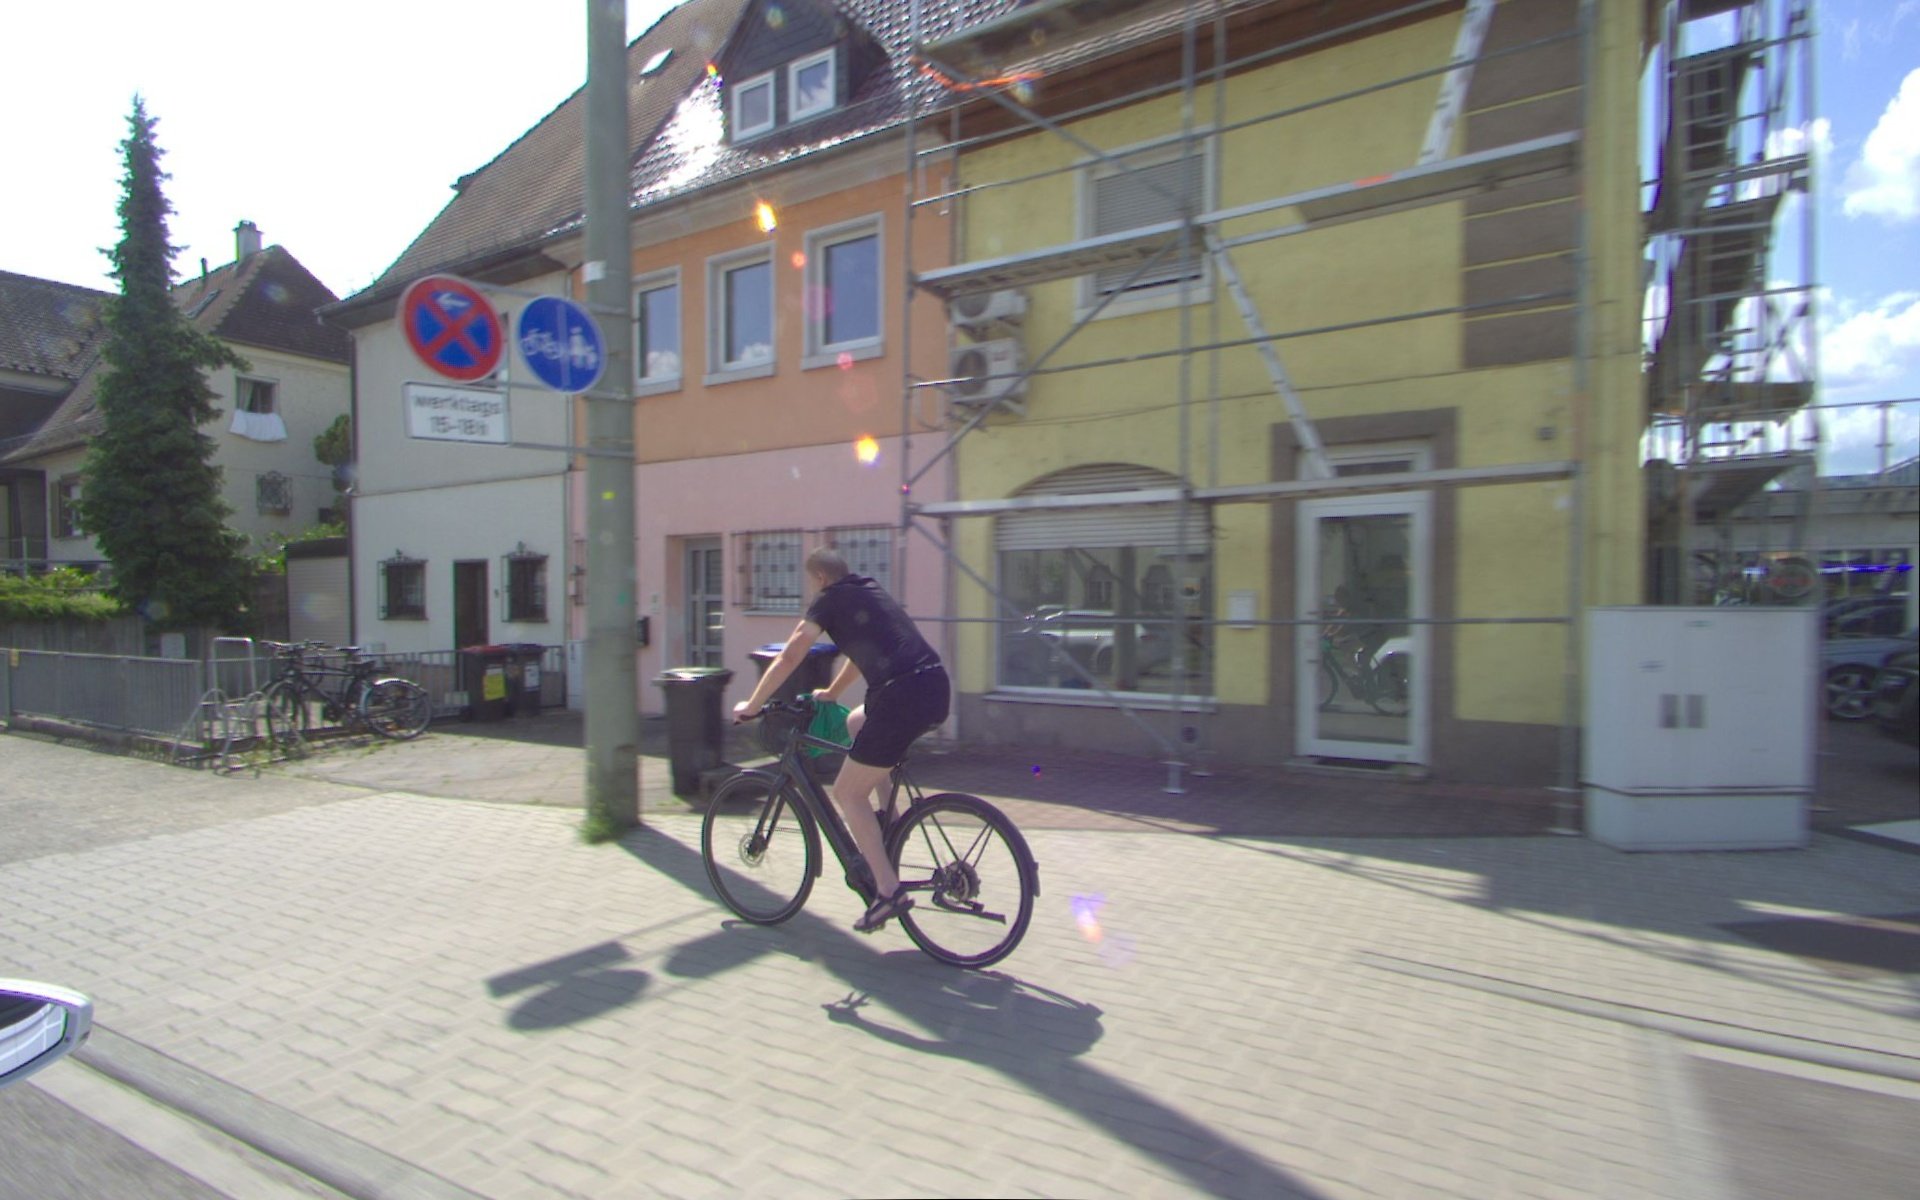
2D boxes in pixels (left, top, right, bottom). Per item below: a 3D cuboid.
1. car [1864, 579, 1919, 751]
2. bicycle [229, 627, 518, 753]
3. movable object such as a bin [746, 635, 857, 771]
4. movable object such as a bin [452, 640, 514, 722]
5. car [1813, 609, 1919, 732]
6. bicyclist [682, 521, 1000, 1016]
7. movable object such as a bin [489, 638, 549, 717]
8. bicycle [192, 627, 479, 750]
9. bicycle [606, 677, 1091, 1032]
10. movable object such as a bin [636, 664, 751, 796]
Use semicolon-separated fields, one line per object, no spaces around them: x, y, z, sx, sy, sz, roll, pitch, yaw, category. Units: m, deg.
11.221;0.619;9.158;4.072;1.616;1.990;-1;-2;33;car
-6.269;0.899;10.934;0.775;1.120;2.656;0;1;31;bicycle
-1.388;0.873;8.757;0.843;1.119;0.510;0;0;33;movable object such as a bin
-5.889;0.989;12.372;0.550;0.959;0.467;0;0;32;movable object such as a bin
12.397;0.804;11.225;4.072;1.368;1.864;-1;-2;33;car
-0.485;0.613;4.278;1.067;1.818;0.827;1;2;28;bicyclist
-5.627;0.978;12.786;0.550;0.959;0.467;0;1;32;movable object such as a bin
-6.914;0.914;11.313;0.681;1.134;2.720;0;1;31;bicycle
-0.495;0.951;4.301;1.940;1.090;0.827;0;2;28;bicycle
-2.061;0.979;7.755;0.731;0.930;0.510;0;0;33;movable object such as a bin
